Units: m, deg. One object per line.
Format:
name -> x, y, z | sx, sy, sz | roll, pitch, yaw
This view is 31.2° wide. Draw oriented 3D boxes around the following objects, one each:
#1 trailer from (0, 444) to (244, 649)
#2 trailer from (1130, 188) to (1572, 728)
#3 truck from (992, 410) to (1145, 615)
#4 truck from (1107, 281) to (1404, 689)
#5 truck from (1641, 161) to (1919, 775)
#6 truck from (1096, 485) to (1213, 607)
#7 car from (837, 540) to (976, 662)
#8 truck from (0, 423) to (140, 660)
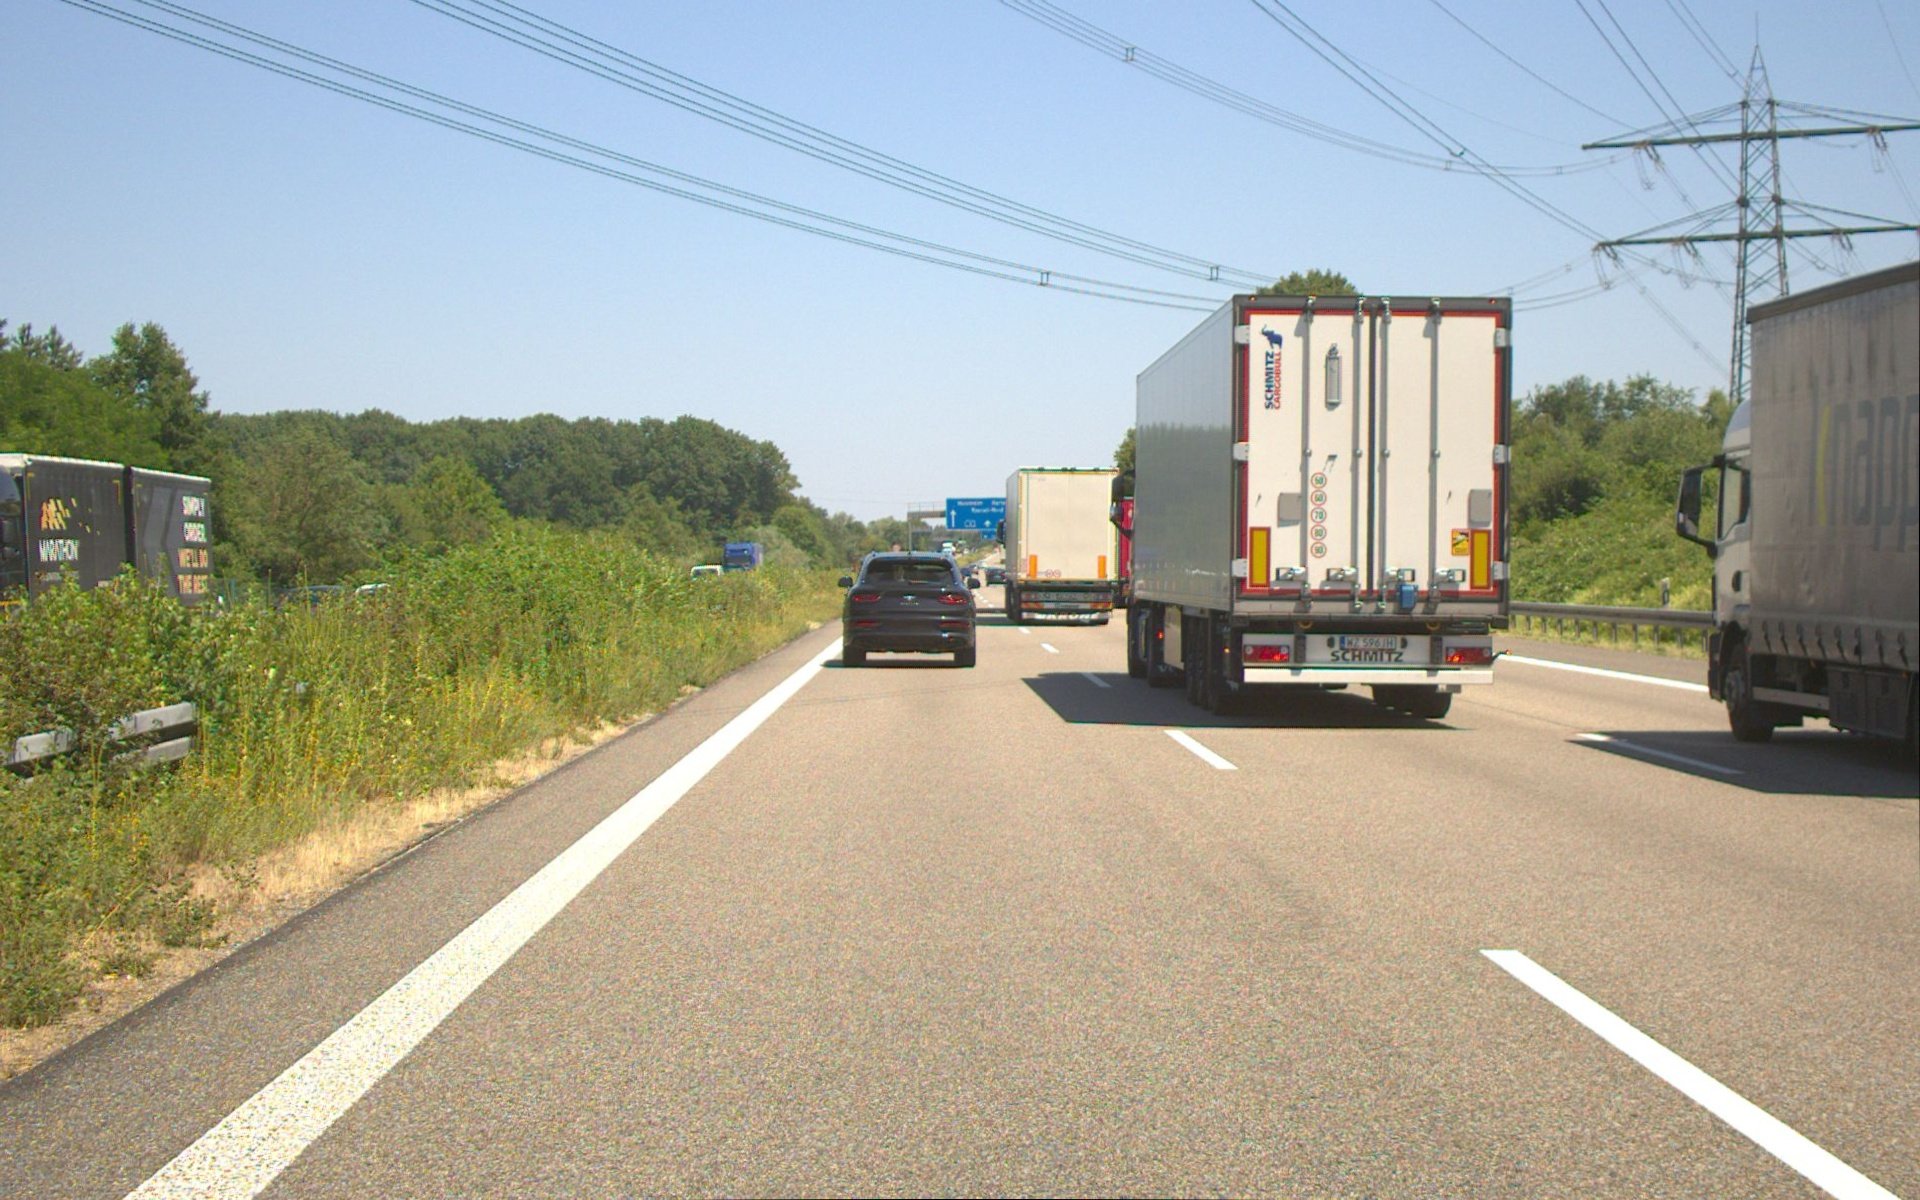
trailer -> -18.036, -1.127, 74.740 | 2.766, 4.082, 10.299 | -2, 0, 0
trailer -> 3.882, -1.351, 37.580 | 3.087, 4.868, 12.259 | 1, 0, -1
truck -> 2.791, -2.282, 91.848 | 3.512, 5.149, 10.259 | 1, 1, -1
truck -> 3.717, -1.417, 44.900 | 3.087, 4.868, 6.598 | 1, 0, -1
truck -> 8.335, -0.909, 26.431 | 3.571, 4.230, 11.652 | 1, 0, -1
truck -> 7.455, -2.084, 133.755 | 3.512, 4.477, 13.251 | 1, 1, -1
car -> -0.851, -0.024, 52.108 | 1.993, 1.766, 4.001 | -1, 1, -2
truck -> -18.010, -1.030, 64.474 | 2.758, 4.107, 10.216 | -1, 0, 0
